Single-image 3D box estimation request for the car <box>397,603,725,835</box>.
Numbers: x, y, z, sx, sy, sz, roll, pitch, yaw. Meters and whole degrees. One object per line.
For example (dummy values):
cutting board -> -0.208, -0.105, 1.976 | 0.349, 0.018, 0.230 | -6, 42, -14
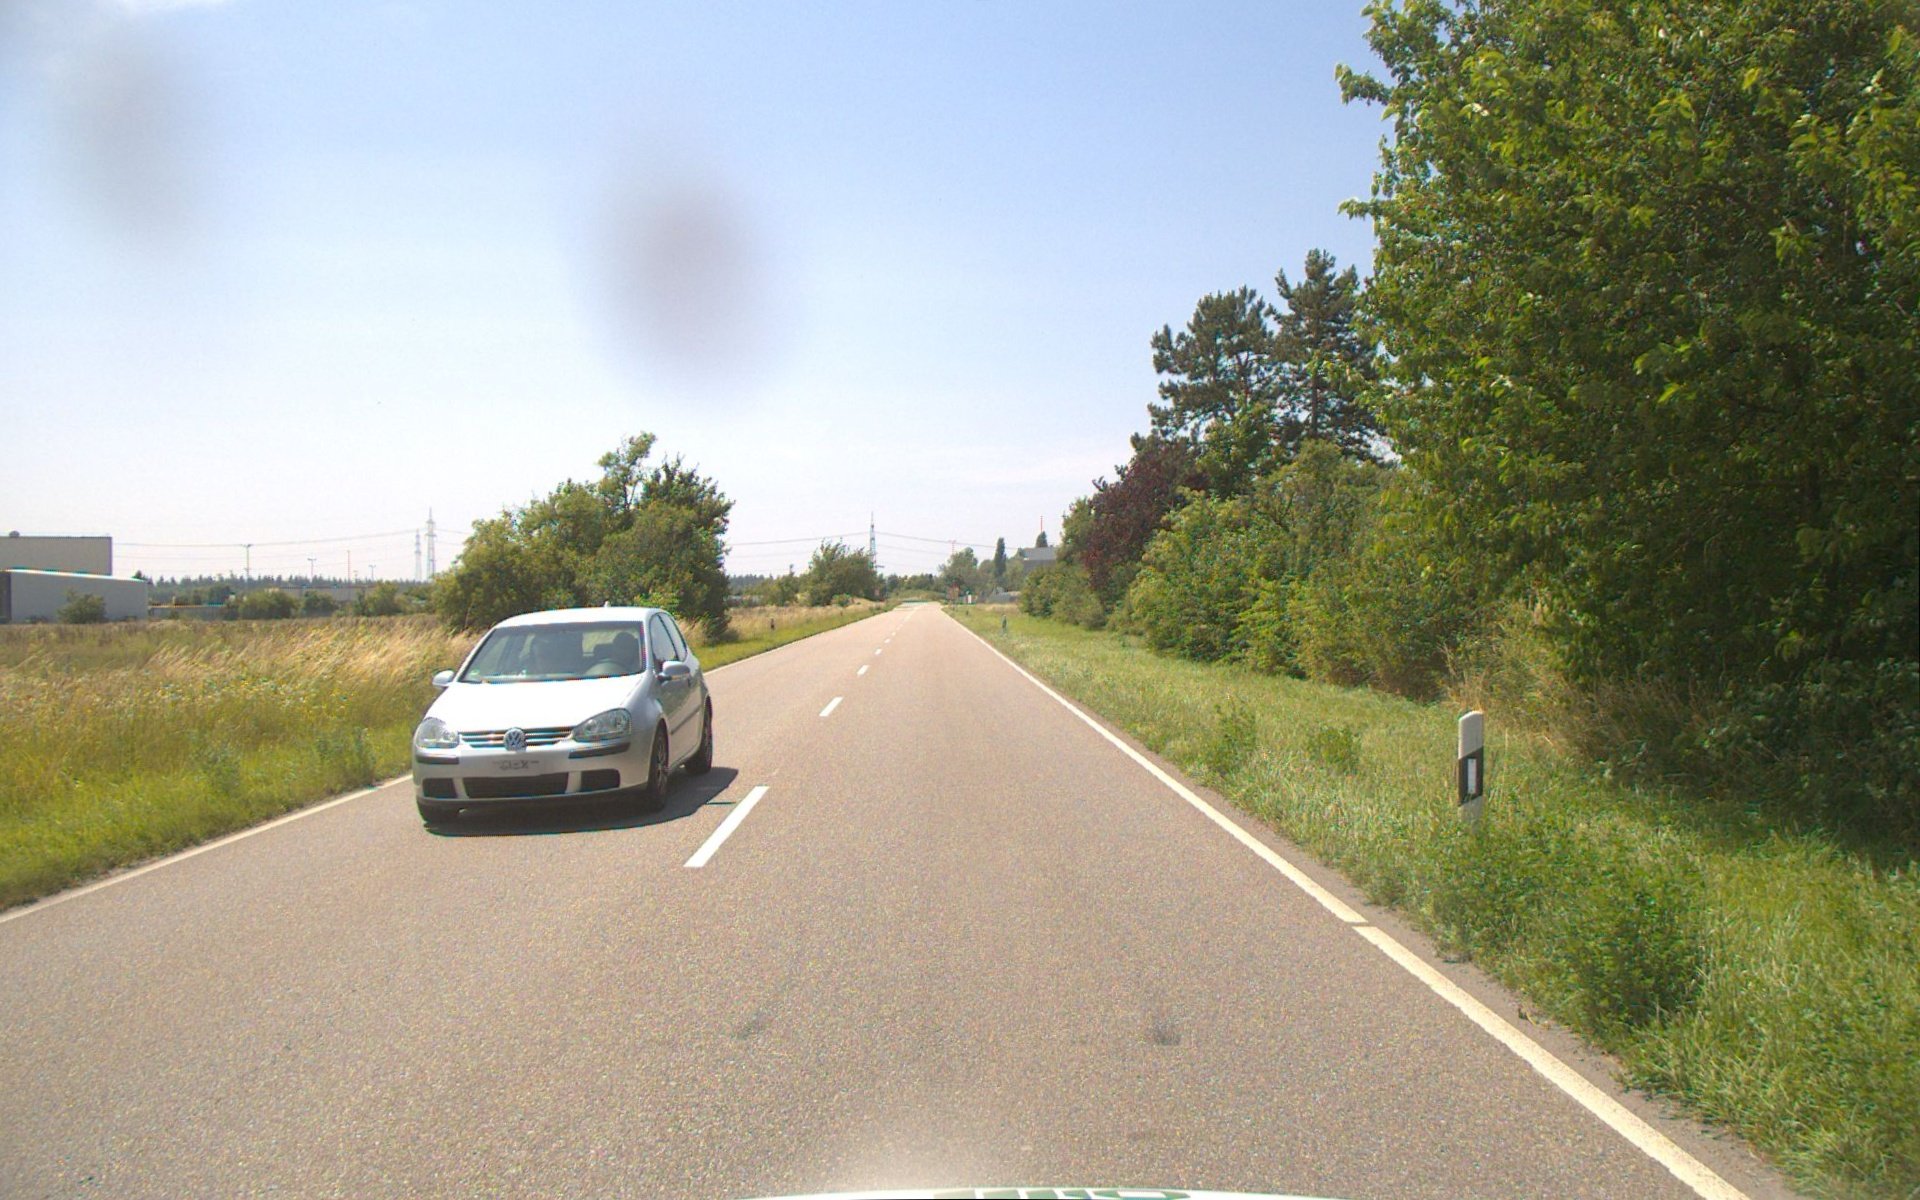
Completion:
car -> -2.980, 0.798, 13.272 | 1.645, 1.446, 4.420 | -3, 0, -2
